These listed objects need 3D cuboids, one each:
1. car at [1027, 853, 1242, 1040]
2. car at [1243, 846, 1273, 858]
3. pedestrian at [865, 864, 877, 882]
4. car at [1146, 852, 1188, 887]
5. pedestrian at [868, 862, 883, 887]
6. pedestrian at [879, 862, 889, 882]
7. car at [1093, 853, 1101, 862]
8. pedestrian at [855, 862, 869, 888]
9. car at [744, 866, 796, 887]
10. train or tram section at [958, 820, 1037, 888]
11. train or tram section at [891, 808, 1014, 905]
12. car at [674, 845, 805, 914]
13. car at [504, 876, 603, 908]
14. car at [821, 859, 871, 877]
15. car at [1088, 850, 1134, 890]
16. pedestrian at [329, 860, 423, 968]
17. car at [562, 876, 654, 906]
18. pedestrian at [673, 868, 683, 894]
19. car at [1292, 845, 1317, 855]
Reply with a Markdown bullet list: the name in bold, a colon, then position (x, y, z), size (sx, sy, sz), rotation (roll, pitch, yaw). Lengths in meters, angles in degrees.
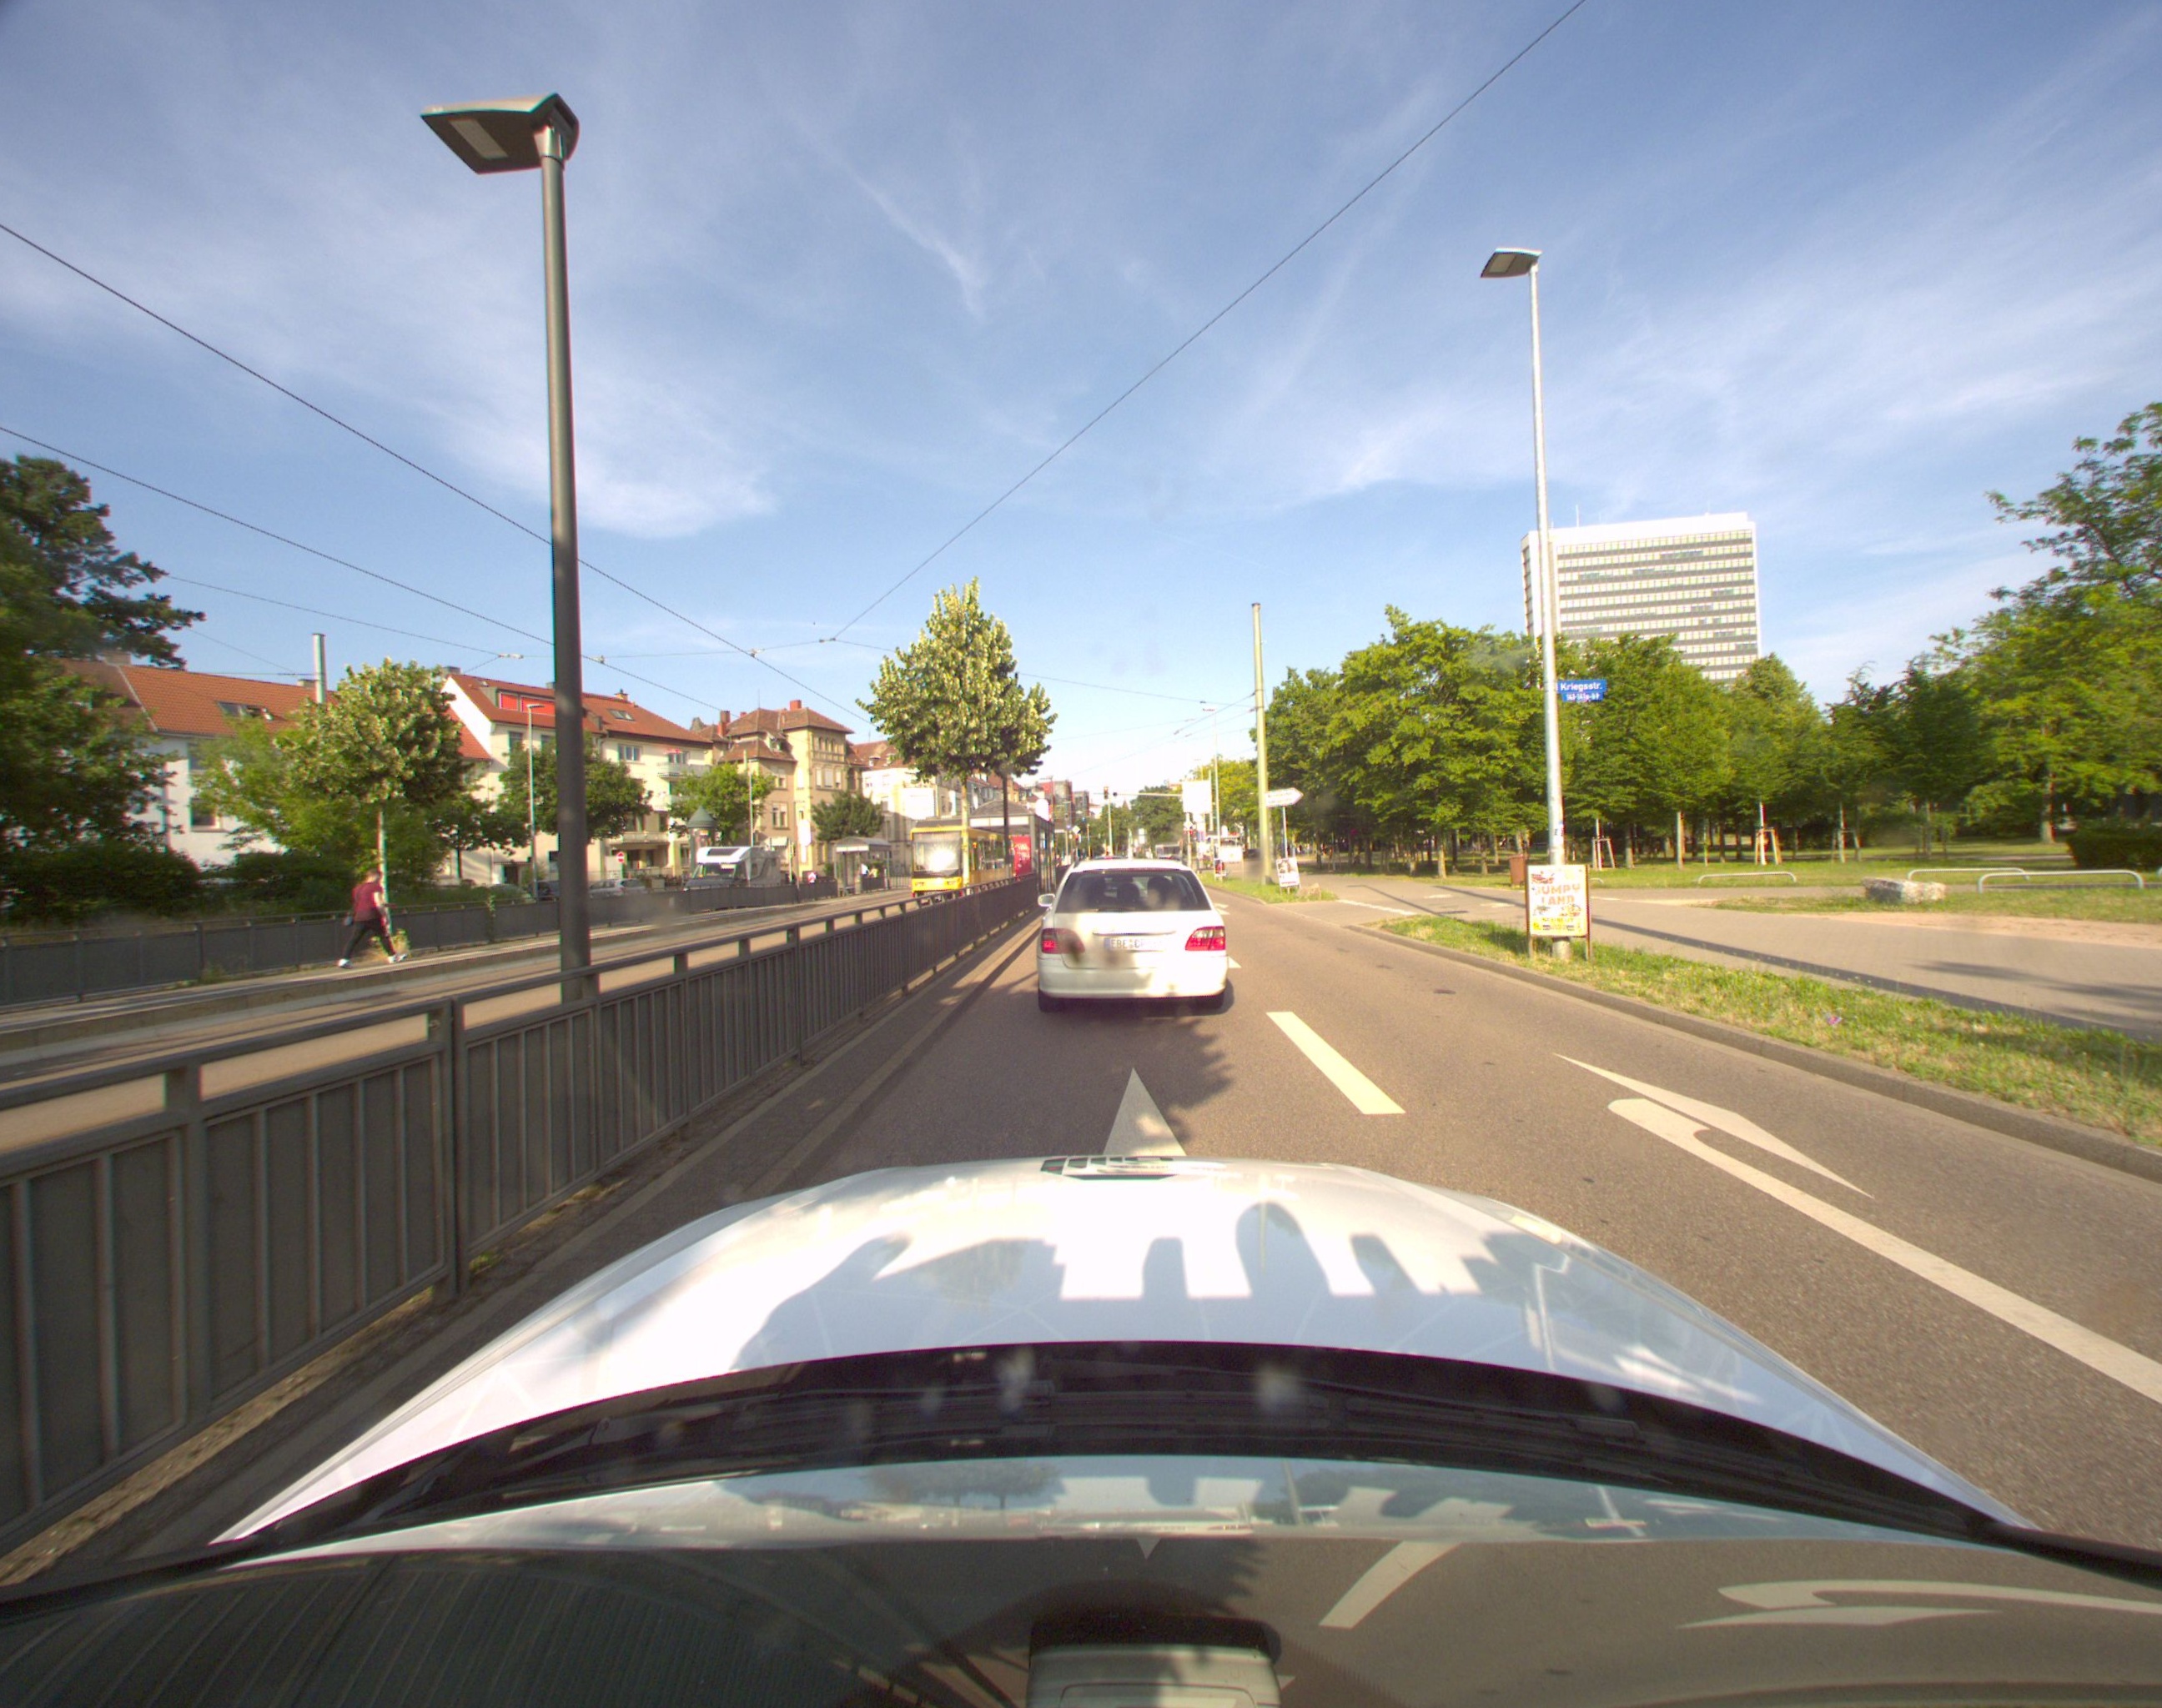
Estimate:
- **car**: position (0.489, 0.782, 8.853), size (1.752, 1.503, 4.001), rotation (-2, 0, 1)
- **car**: position (27.170, -0.275, 125.097), size (3.949, 1.651, 2.012), rotation (-3, 0, 27)
- **pedestrian**: position (-20.633, 1.872, 80.115), size (0.882, 1.753, 0.747), rotation (-2, 0, 5)
- **car**: position (4.443, 0.754, 41.948), size (2.023, 1.605, 4.007), rotation (-2, 0, 6)
- **pedestrian**: position (-14.773, 1.467, 58.524), size (0.886, 1.753, 0.743), rotation (-2, 0, -9)
- **pedestrian**: position (-18.118, 1.669, 74.976), size (0.662, 1.753, 0.747), rotation (-2, 0, 6)
- **car**: position (4.028, 0.842, 205.846), size (1.986, 2.013, 4.001), rotation (-3, 0, 1)
- **pedestrian**: position (-15.695, 1.500, 58.370), size (0.886, 1.753, 0.743), rotation (-2, 0, -9)
- **car**: position (-28.108, 2.024, 73.701), size (3.954, 1.750, 2.010), rotation (-2, 0, 19)
- **train or tram section**: position (-4.712, -0.023, 49.155), size (2.838, 3.479, 13.207), rotation (-2, 0, 2)
- **train or tram section**: position (-5.226, 0.040, 36.305), size (2.838, 3.479, 13.207), rotation (-1, 0, 2)
- **car**: position (-15.287, 1.028, 37.175), size (2.587, 2.735, 7.470), rotation (-2, 0, 1)
- **car**: position (-26.400, 1.903, 40.786), size (3.956, 1.398, 2.009), rotation (-2, 0, 16)
- **car**: position (-23.697, 1.438, 82.182), size (2.183, 1.628, 4.744), rotation (-2, 0, 25)
- **car**: position (1.418, 0.679, 36.967), size (1.778, 1.690, 4.007), rotation (-2, 0, 6)
- **pedestrian**: position (-11.928, 0.999, 13.799), size (0.832, 1.733, 0.773), rotation (-3, 0, 2)
- **car**: position (-25.304, 1.972, 43.580), size (3.956, 1.398, 2.009), rotation (-2, 0, 16)
- **pedestrian**: position (-31.559, 2.129, 63.749), size (0.417, 2.013, 0.436), rotation (-2, 0, 20)
- **car**: position (41.785, -0.825, 152.246), size (4.007, 1.651, 1.984), rotation (-3, 0, -25)
